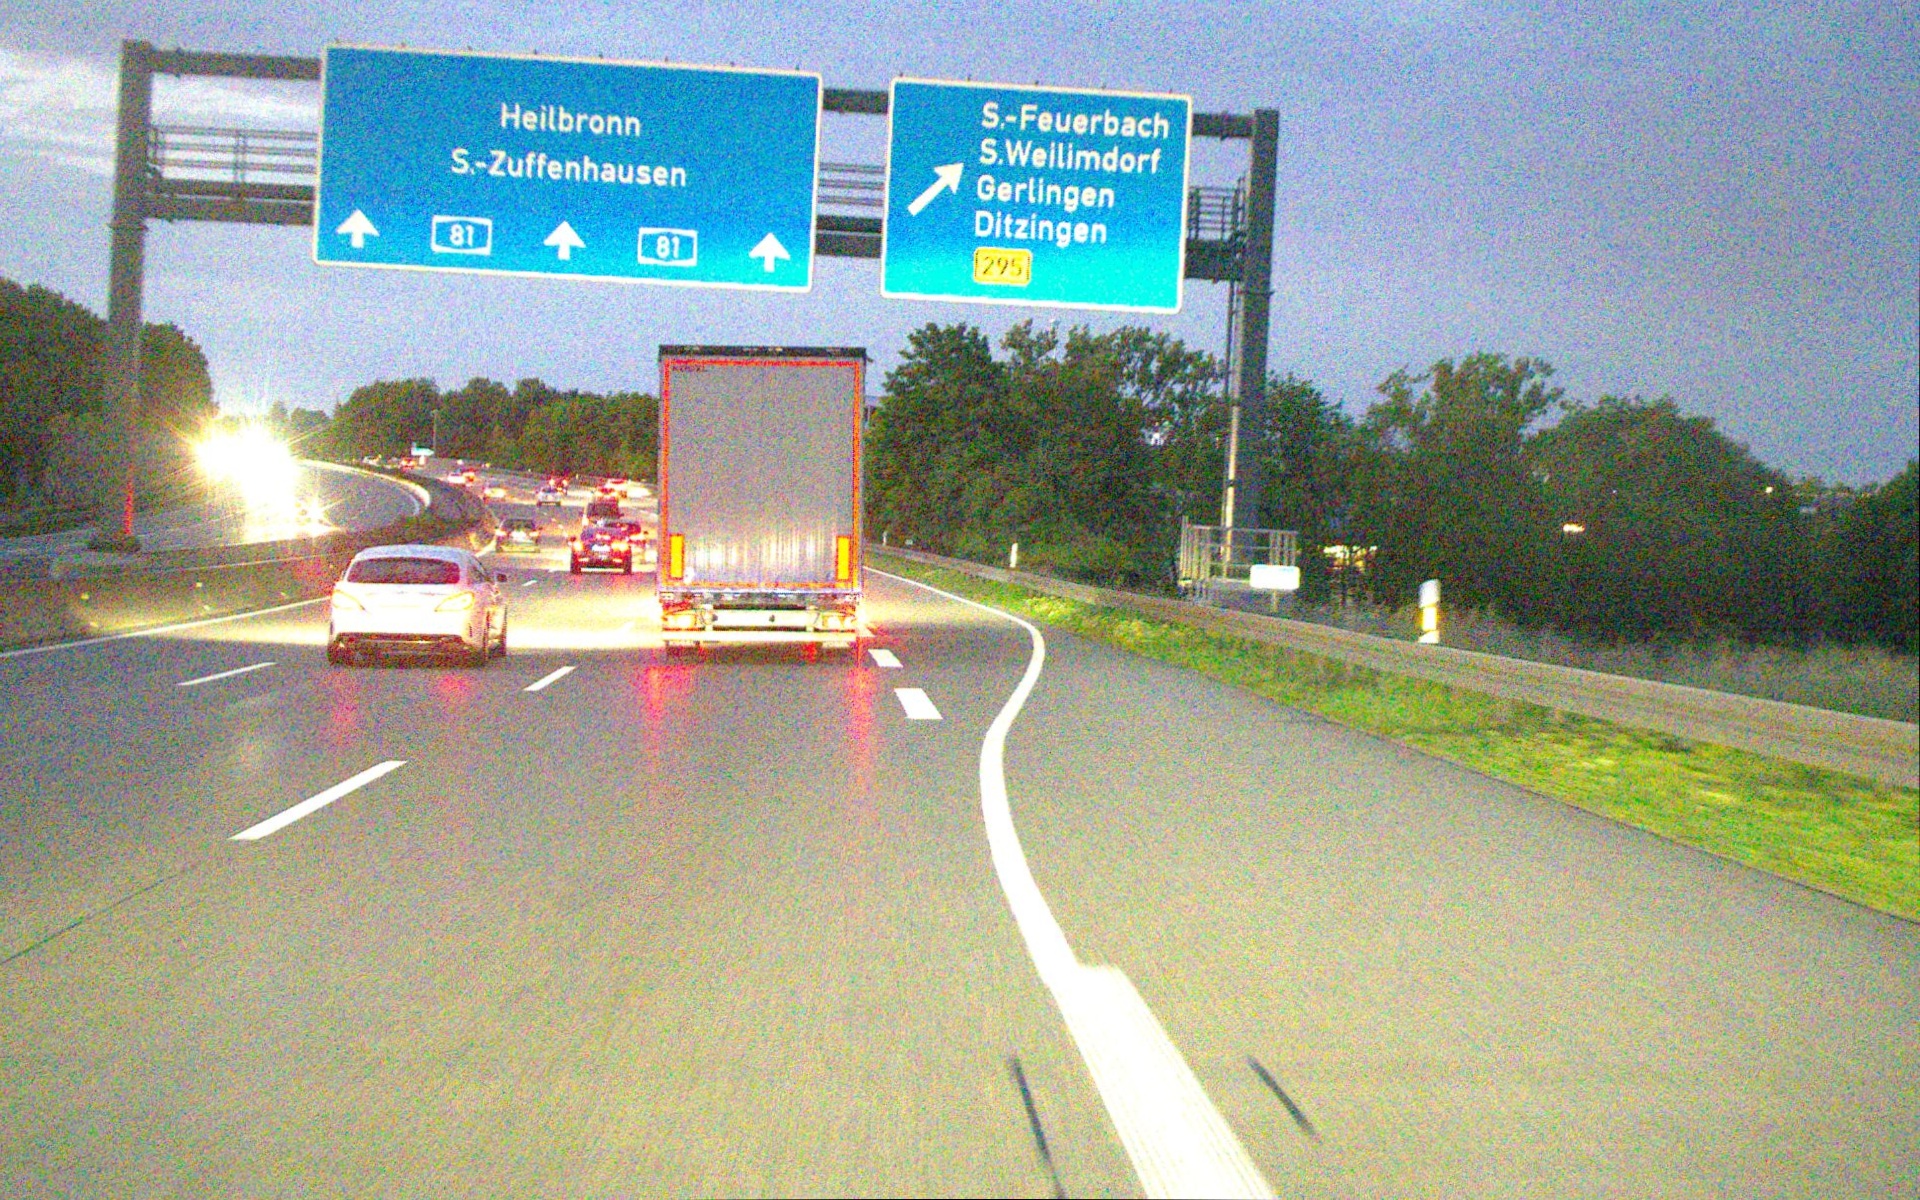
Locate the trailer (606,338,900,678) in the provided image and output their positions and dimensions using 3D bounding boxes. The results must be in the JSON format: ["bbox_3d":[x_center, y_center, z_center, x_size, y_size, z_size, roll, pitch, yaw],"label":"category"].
[{"bbox_3d":[-2.926,-1.275,49.439,3.550,4.102,15.065,1,1,-3],"label":"trailer"}]

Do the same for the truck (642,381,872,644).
[{"bbox_3d":[-3.338,-1.425,56.765,3.550,4.077,6.152,1,1,-3],"label":"truck"}]

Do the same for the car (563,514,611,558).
[{"bbox_3d":[-18.376,-3.156,169.346,1.993,2.007,4.000,2,-1,-2],"label":"car"}]

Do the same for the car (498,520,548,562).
[{"bbox_3d":[-18.167,-2.437,143.049,1.761,1.569,4.577,2,-1,-4],"label":"car"}]

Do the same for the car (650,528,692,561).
[{"bbox_3d":[-14.570,-2.774,173.213,1.993,1.529,4.000,2,-1,-4],"label":"car"}]

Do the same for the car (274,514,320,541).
[{"bbox_3d":[-37.026,-4.021,192.067,1.993,1.414,4.152,2,1,-4],"label":"car"}]

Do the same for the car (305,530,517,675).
[{"bbox_3d":[-6.637,0.052,42.056,1.906,1.609,4.804,2,-1,-2],"label":"car"}]

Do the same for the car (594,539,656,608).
[{"bbox_3d":[-12.084,-0.924,123.926,1.993,2.372,4.001,2,-1,-7],"label":"car"}]

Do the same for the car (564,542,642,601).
[{"bbox_3d":[-11.000,-0.861,106.211,2.065,1.680,4.577,2,-1,-3],"label":"car"}]
